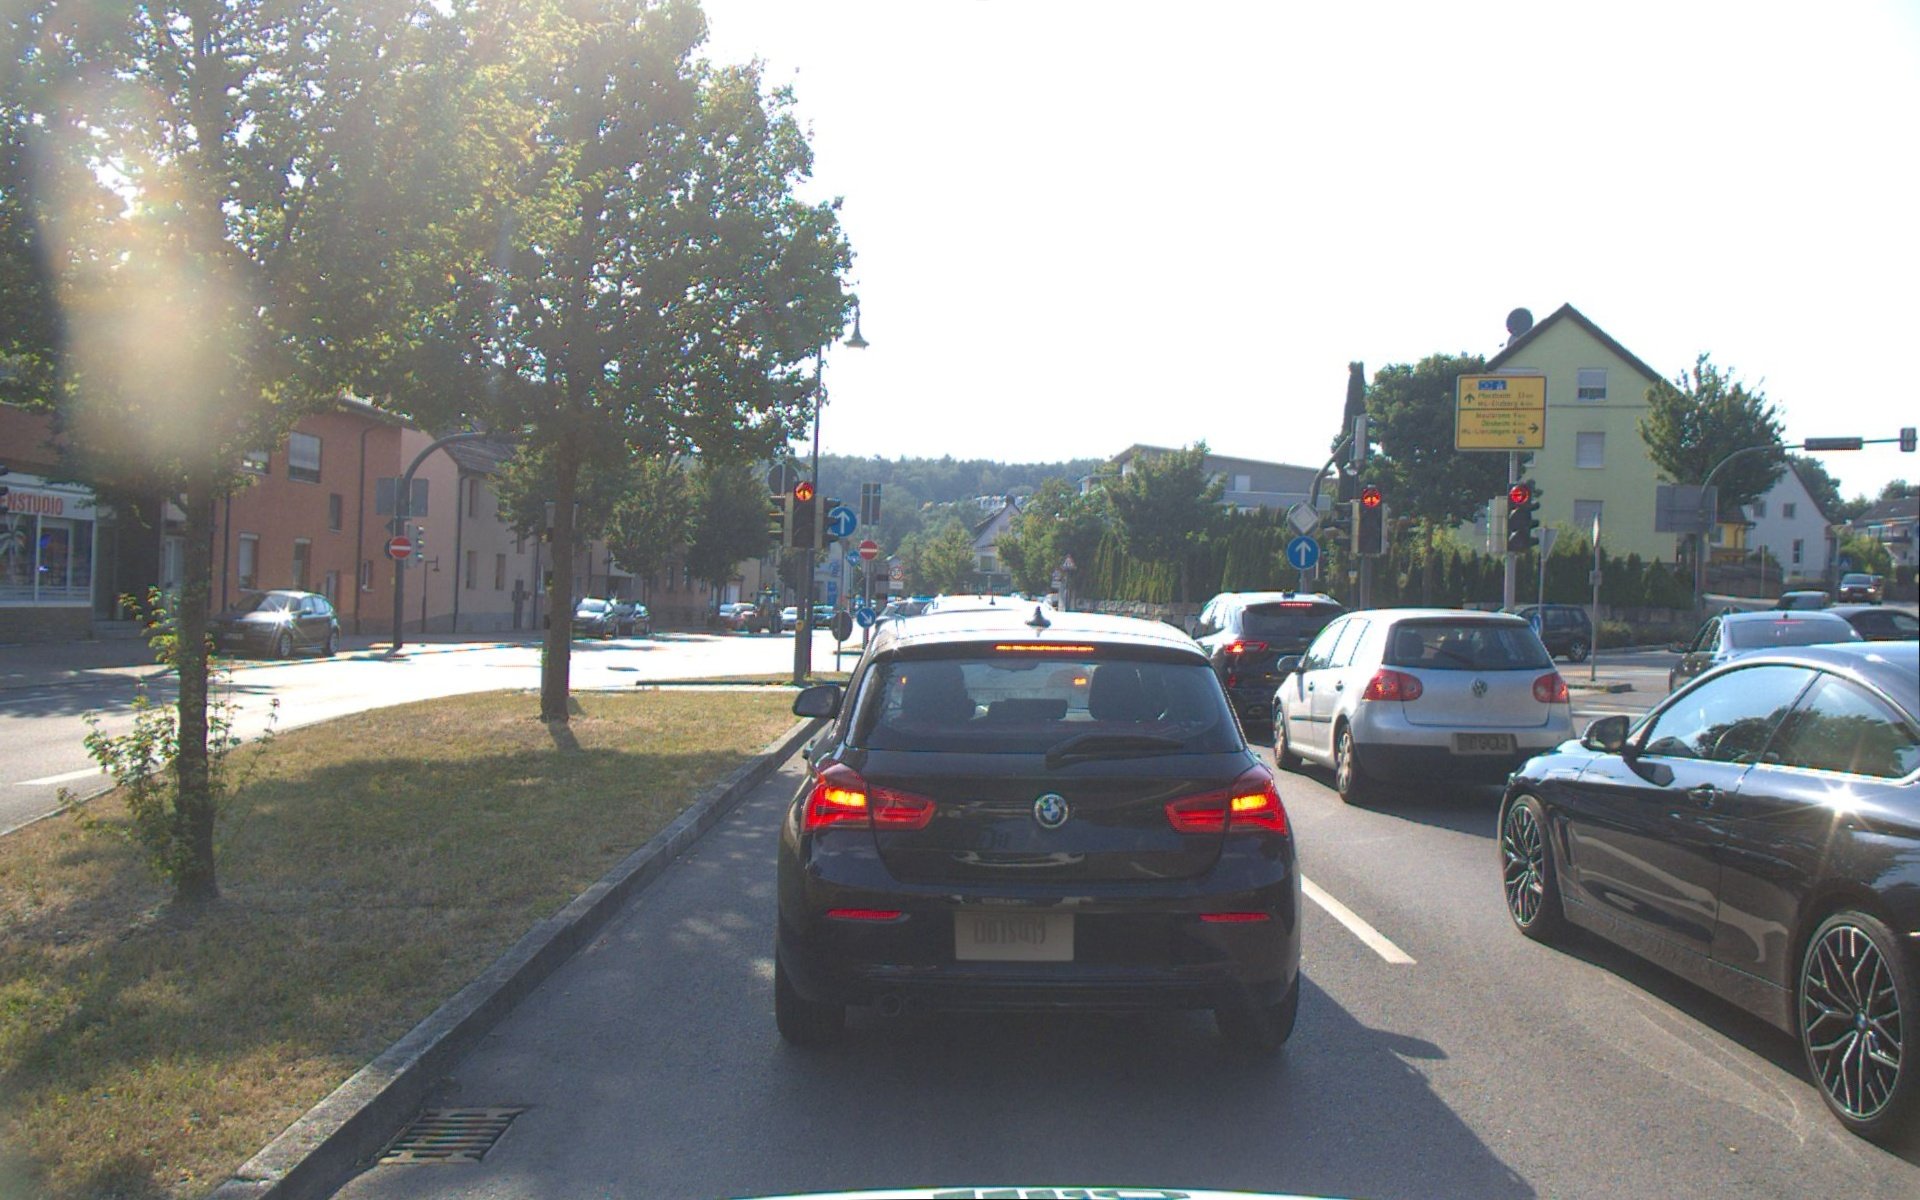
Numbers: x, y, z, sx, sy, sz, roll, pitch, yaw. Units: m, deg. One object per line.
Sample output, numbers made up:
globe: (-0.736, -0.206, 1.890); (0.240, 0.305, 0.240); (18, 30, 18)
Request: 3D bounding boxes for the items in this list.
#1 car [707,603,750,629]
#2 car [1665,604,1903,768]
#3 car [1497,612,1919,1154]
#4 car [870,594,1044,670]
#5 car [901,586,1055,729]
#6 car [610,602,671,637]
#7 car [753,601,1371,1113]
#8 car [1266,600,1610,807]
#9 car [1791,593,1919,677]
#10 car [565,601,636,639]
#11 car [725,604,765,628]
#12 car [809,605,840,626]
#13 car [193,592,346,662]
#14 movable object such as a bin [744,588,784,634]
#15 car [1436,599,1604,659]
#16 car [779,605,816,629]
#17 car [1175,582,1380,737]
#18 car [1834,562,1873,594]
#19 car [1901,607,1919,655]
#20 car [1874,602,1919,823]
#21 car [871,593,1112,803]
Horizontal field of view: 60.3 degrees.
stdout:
car: (-13.550, 0.948, 96.953); (1.701, 1.323, 3.800); (5, 0, 2)
car: (9.038, 0.853, 18.483); (1.621, 1.569, 4.401); (-1, 0, 17)
car: (3.464, 0.784, 5.841); (1.725, 1.422, 4.280); (-1, 0, 0)
car: (-0.128, 0.712, 39.210); (1.953, 1.709, 4.153); (0, 0, -40)
car: (0.200, 0.647, 21.046); (1.751, 1.622, 4.280); (-1, 0, 0)
car: (-14.115, 0.836, 73.209); (1.701, 1.323, 4.001); (5, 0, 2)
car: (0.289, 0.734, 6.861); (1.751, 1.422, 4.280); (-1, 0, 0)
car: (3.785, 0.739, 13.797); (1.725, 1.451, 3.902); (-1, 0, 0)
car: (20.092, 0.705, 34.979); (4.121, 1.709, 1.968); (0, 0, -7)
car: (-14.508, 0.803, 66.928); (1.701, 1.323, 4.001); (5, 0, 3)
car: (-13.316, 0.972, 102.655); (1.701, 1.323, 3.800); (5, 0, 2)
car: (-9.692, 1.105, 118.736); (1.701, 1.323, 3.800); (5, 0, 2)
car: (-15.480, 0.571, 37.314); (1.702, 1.323, 3.999); (5, 0, -1)
movable object such as a bin: (-10.939, 0.593, 92.420); (1.701, 2.485, 4.449); (0, 0, 0)
car: (15.160, 0.765, 44.857); (3.907, 1.515, 1.847); (1, 0, -3)
car: (-10.251, 1.035, 104.477); (1.701, 1.323, 3.800); (5, 0, 2)
car: (3.738, 0.648, 20.122); (1.725, 1.685, 3.902); (-1, 0, 0)
car: (49.143, -1.180, 91.012); (1.807, 1.670, 4.425); (1, 0, 27)
car: (32.358, 1.035, 53.246); (3.944, 1.515, 1.830); (1, 0, -30)
car: (7.513, 0.802, 10.767); (1.583, 1.569, 3.320); (-1, 0, 6)
car: (0.229, 0.713, 14.271); (1.751, 1.520, 4.280); (-1, 0, 0)
